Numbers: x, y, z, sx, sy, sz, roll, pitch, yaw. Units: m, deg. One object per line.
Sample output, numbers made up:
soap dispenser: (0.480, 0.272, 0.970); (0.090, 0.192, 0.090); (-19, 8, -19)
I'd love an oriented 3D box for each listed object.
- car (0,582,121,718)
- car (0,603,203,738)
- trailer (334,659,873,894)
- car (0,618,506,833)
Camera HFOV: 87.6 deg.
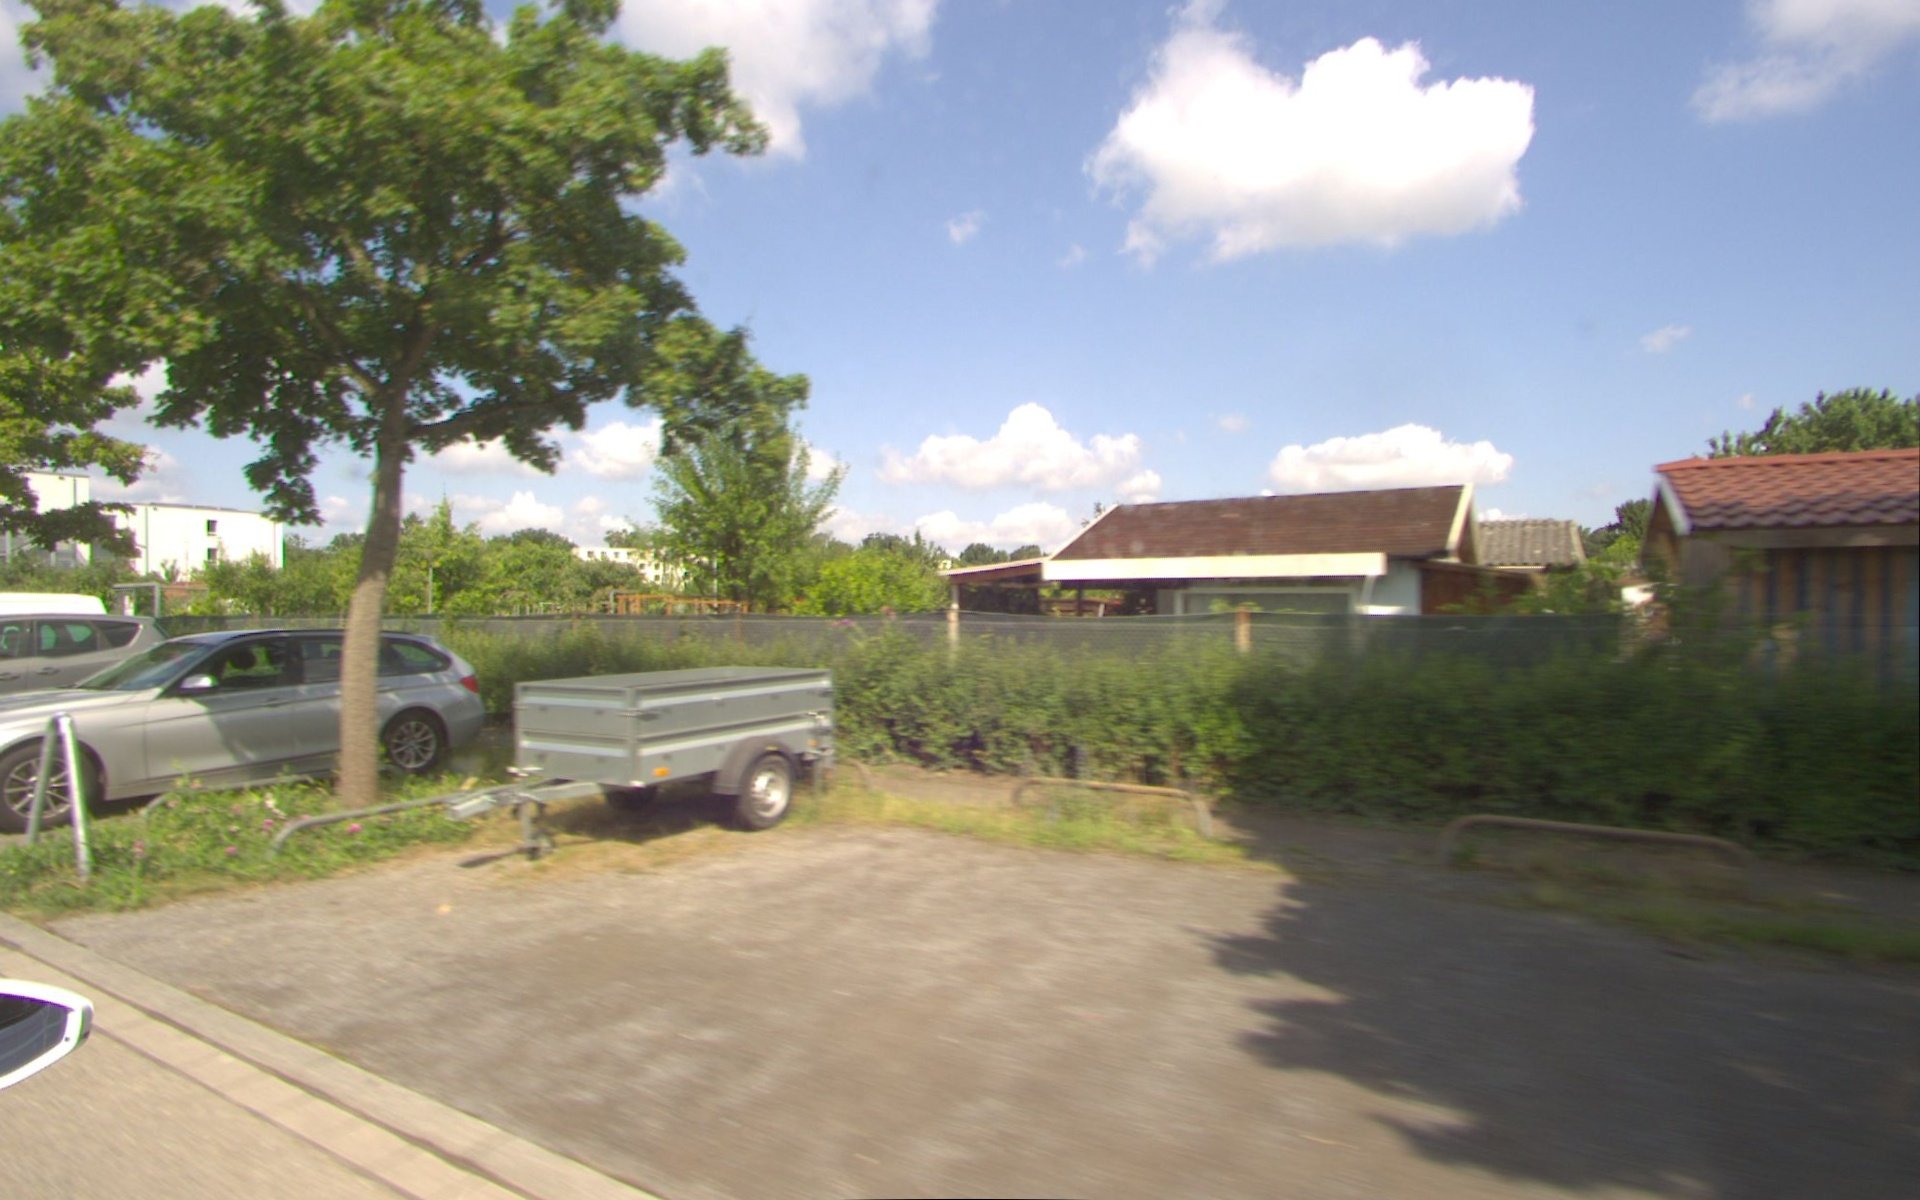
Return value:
car: (-14.924, 0.719, 13.867); (2.080, 1.912, 4.627); (0, 1, 30)
car: (-12.494, 0.871, 12.656); (1.971, 1.613, 4.234); (0, 1, 32)
trailer: (-2.341, 1.048, 7.173); (1.971, 1.157, 3.095); (-1, -2, 32)
car: (-6.713, 0.912, 8.970); (1.969, 1.485, 4.574); (0, -1, 28)
